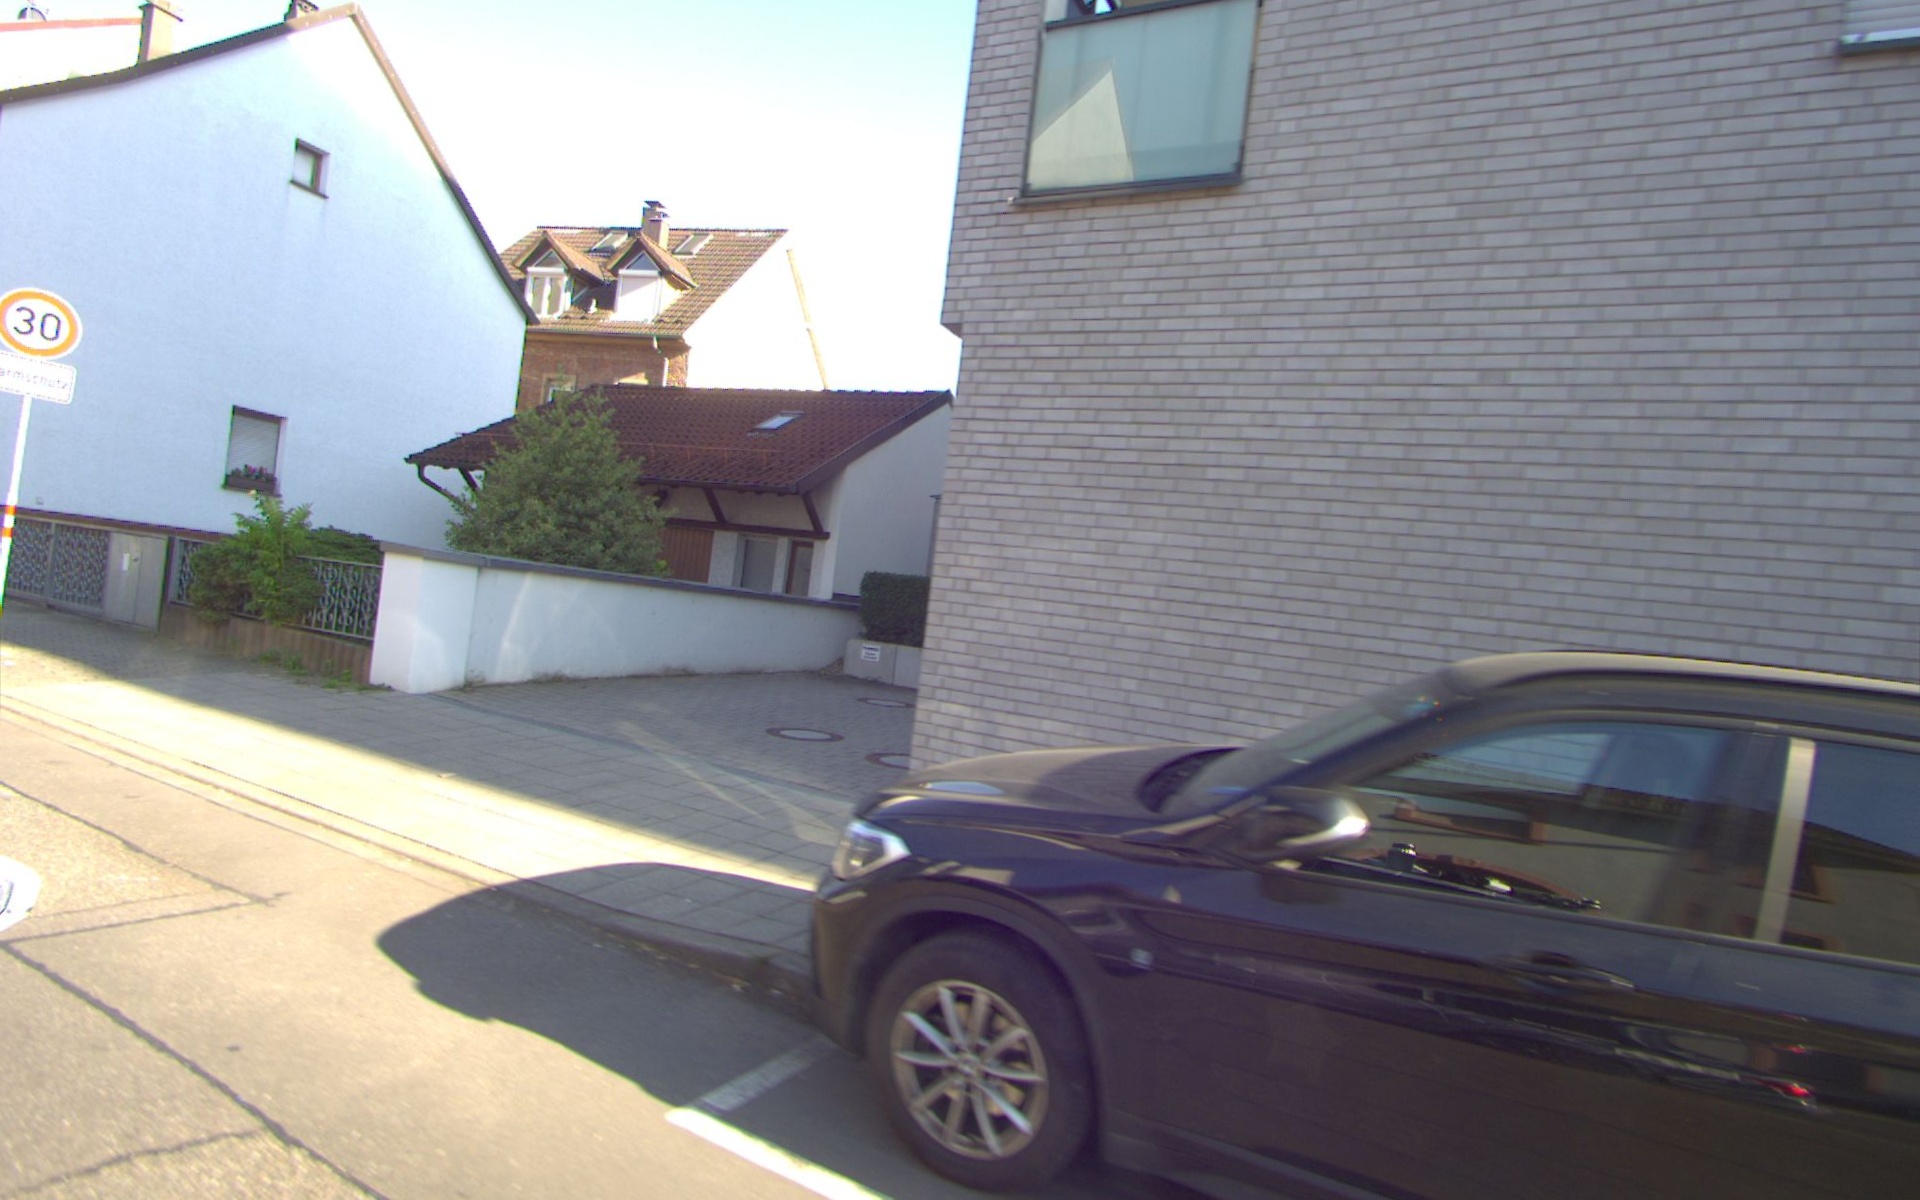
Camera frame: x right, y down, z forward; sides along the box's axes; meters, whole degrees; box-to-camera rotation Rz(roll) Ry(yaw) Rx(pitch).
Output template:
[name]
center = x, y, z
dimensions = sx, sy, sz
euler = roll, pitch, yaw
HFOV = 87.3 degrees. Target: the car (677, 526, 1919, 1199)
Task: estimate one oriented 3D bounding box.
[car]
center = 1.619, 0.873, 2.837
dimensions = 4.543, 1.658, 1.856
euler = 7, 2, 28
